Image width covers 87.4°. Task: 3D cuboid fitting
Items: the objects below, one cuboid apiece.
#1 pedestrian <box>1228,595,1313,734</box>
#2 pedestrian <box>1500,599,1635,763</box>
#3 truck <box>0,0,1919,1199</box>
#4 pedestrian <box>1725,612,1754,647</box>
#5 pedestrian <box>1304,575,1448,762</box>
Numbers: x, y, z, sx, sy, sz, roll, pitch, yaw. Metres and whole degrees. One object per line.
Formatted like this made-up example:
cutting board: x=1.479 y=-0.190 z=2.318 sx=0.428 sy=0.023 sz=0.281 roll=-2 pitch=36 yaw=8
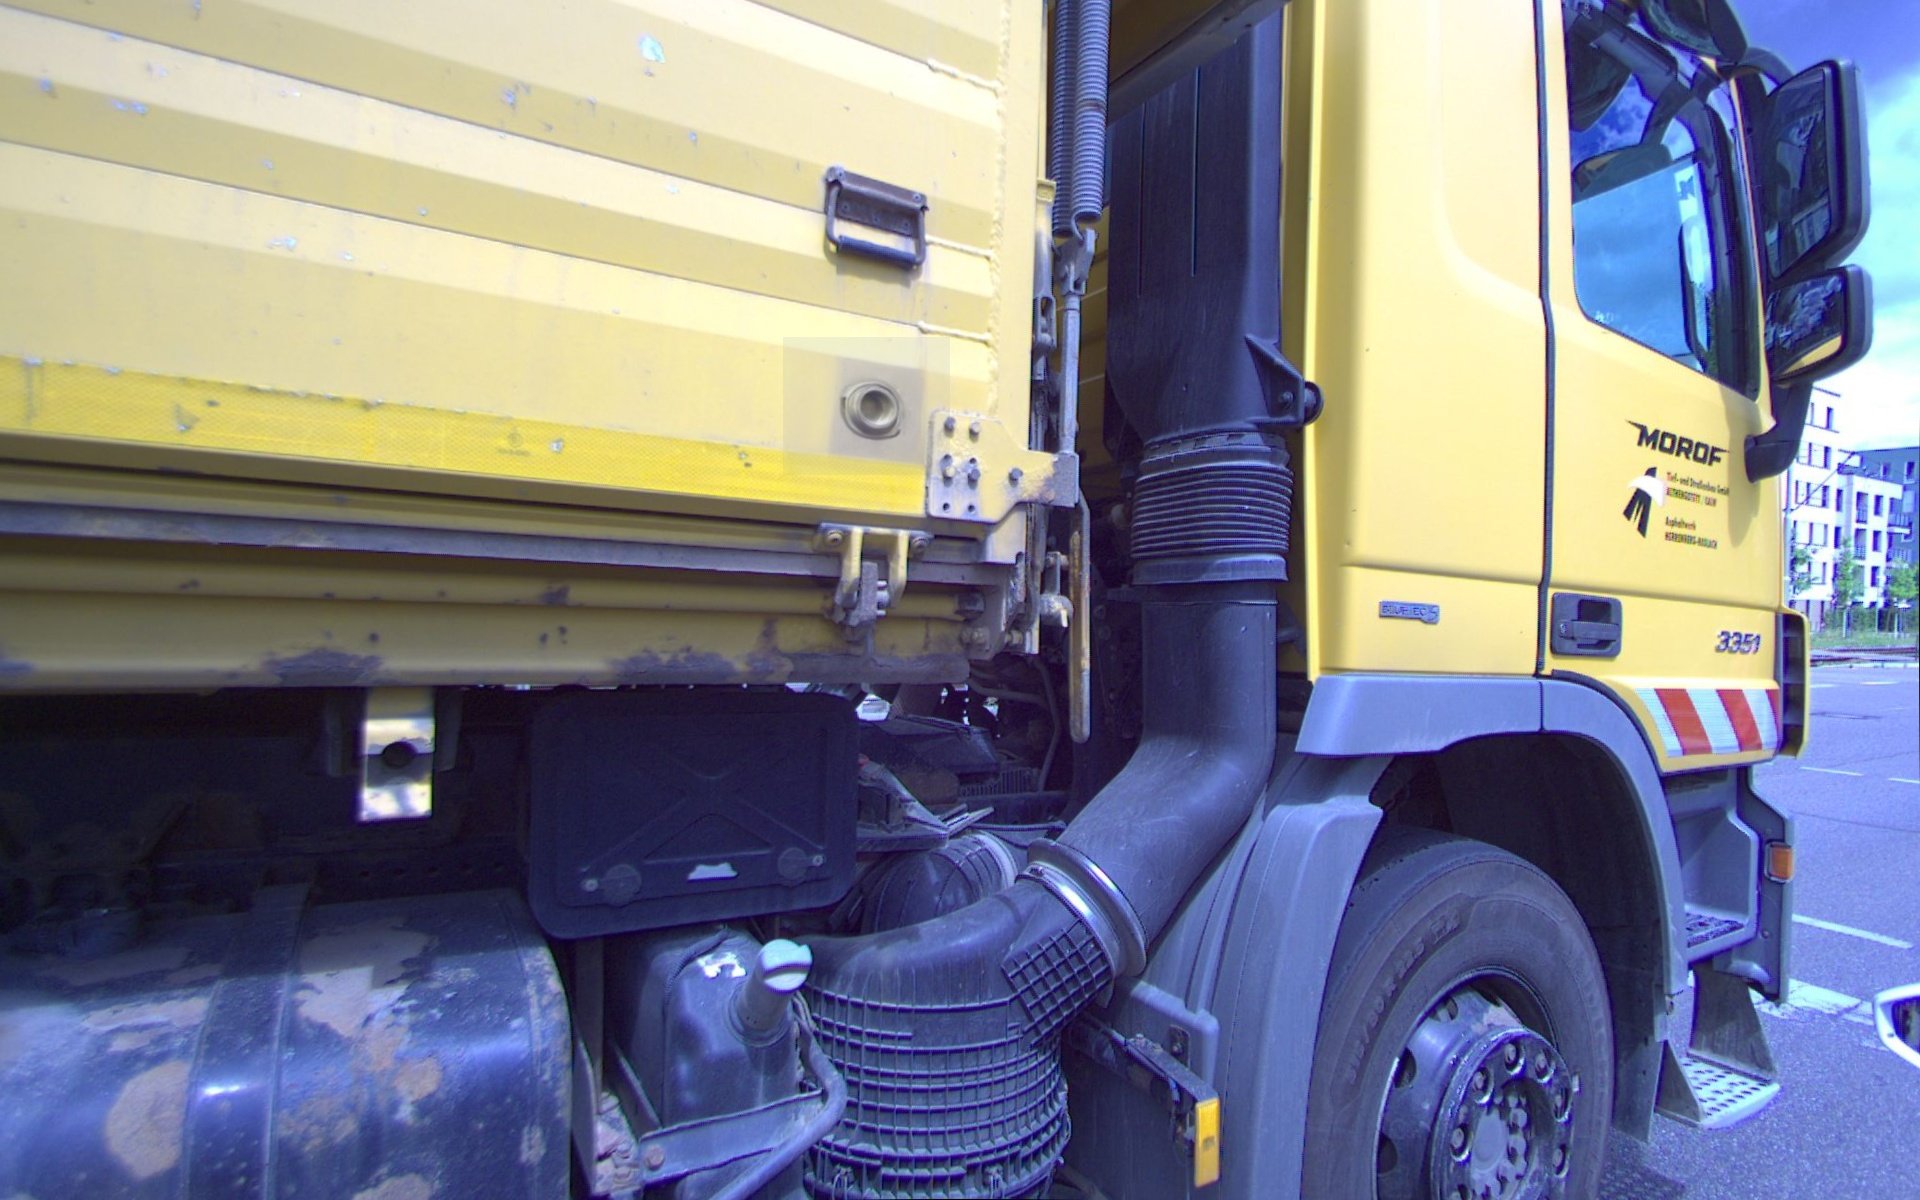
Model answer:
pedestrian: x=3.814 y=0.770 z=12.397 sx=0.750 sy=1.656 sz=0.871 roll=0 pitch=0 yaw=-3
pedestrian: x=6.233 y=0.788 z=10.318 sx=0.836 sy=1.573 sz=0.939 roll=1 pitch=0 yaw=-38
truck: x=-1.697 y=-0.232 z=1.579 sx=7.916 sy=3.439 sz=3.033 roll=1 pitch=0 yaw=-32
pedestrian: x=34.428 y=1.303 z=44.377 sx=0.628 sy=1.536 sz=0.827 roll=1 pitch=0 yaw=-30
pedestrian: x=4.264 y=0.658 z=10.314 sx=0.939 sy=1.798 sz=1.003 roll=1 pitch=0 yaw=-34
